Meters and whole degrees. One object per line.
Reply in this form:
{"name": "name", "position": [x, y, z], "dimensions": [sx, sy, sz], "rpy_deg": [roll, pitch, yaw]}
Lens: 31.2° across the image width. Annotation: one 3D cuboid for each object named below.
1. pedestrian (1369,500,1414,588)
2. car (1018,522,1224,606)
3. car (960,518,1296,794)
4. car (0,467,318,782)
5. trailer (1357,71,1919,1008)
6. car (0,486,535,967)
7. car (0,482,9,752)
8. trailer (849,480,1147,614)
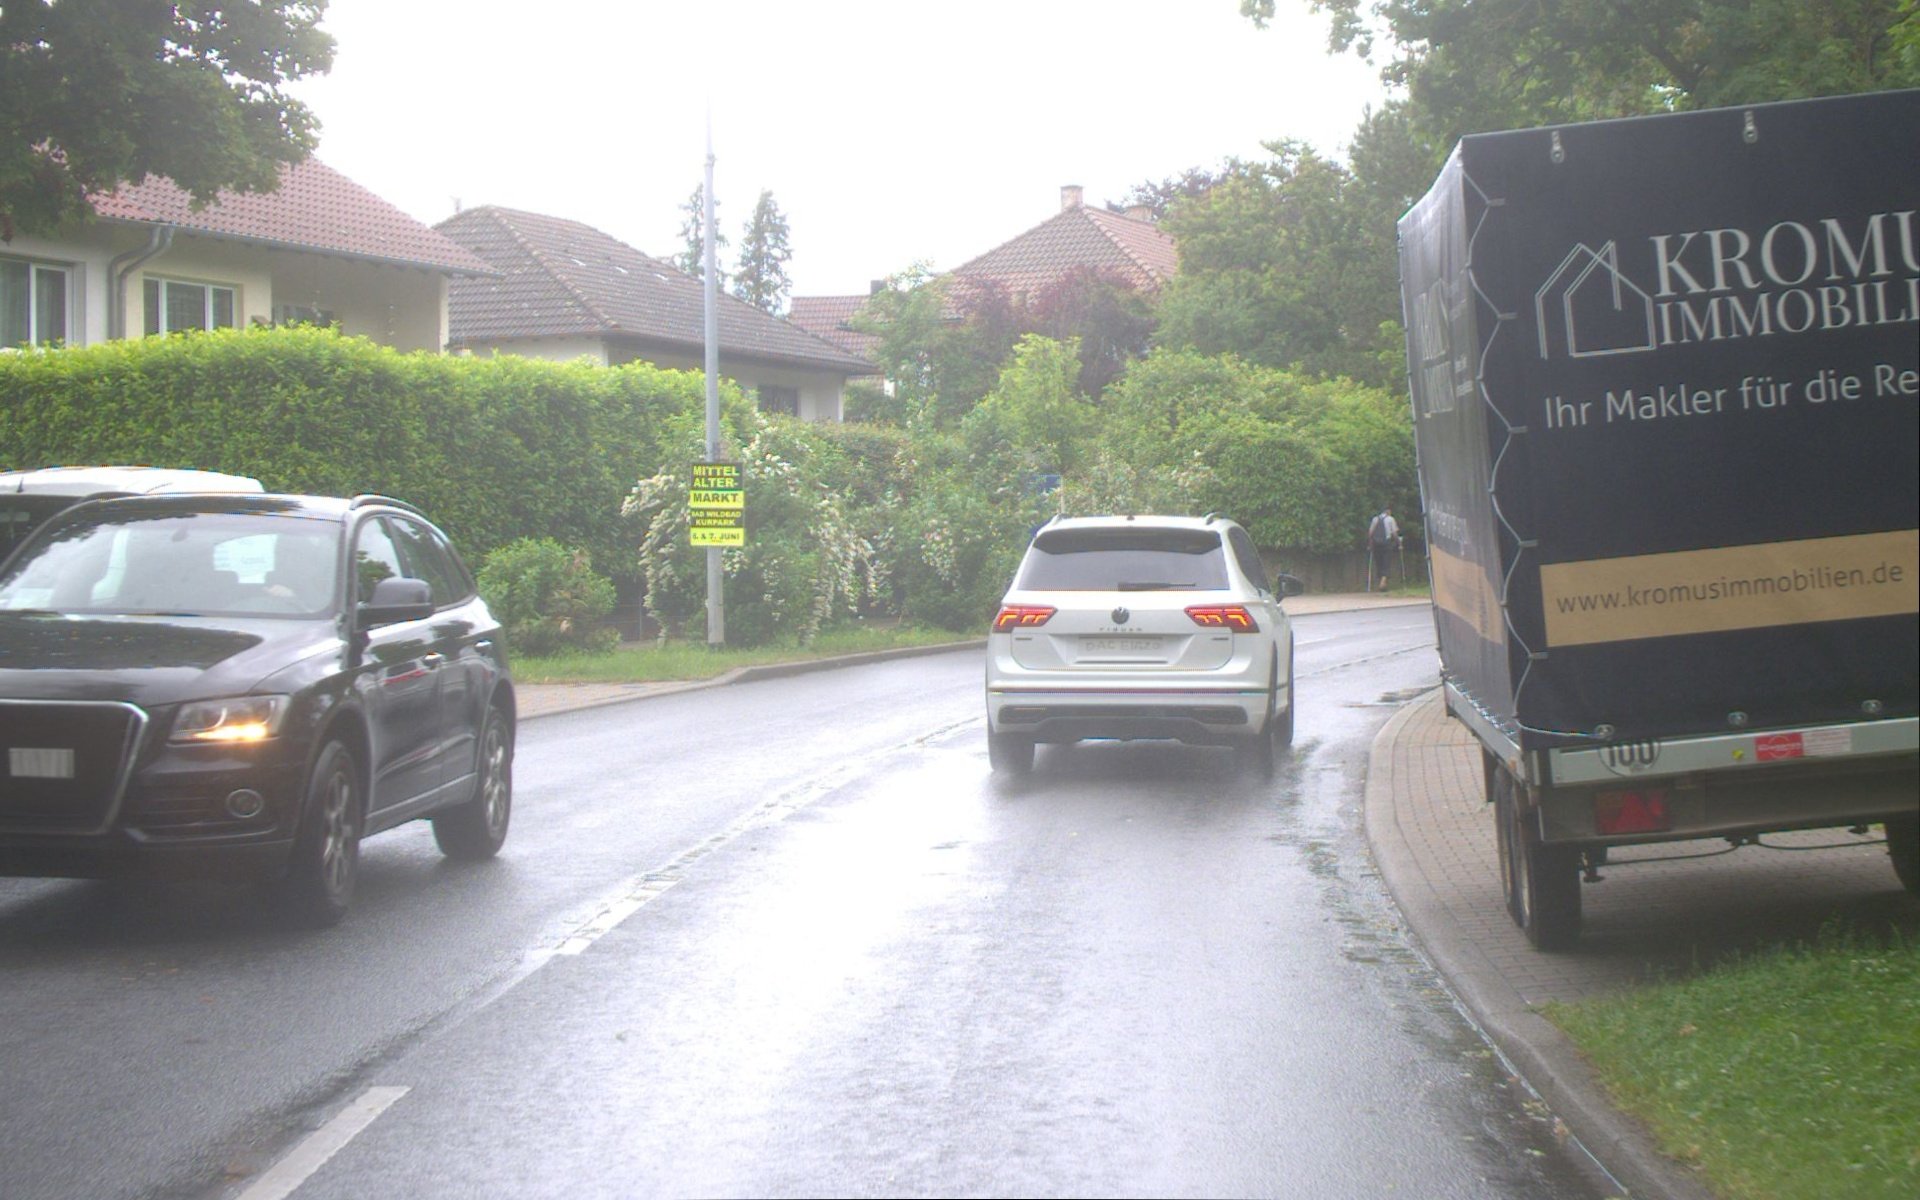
{"name": "pedestrian", "position": [8.217, -1.065, 65.449], "dimensions": [0.777, 1.656, 0.843], "rpy_deg": [1, 1, 12]}
{"name": "car", "position": [2.975, -0.682, 63.569], "dimensions": [3.407, 1.514, 1.729], "rpy_deg": [1, 1, 23]}
{"name": "car", "position": [1.218, 0.308, 22.966], "dimensions": [1.974, 1.647, 4.176], "rpy_deg": [1, 1, 6]}
{"name": "car", "position": [-5.748, 0.093, 21.882], "dimensions": [1.799, 1.789, 4.370], "rpy_deg": [1, 1, 10]}
{"name": "trailer", "position": [2.820, -0.253, 13.505], "dimensions": [1.994, 2.799, 5.607], "rpy_deg": [-5, 1, 4]}
{"name": "car", "position": [-3.153, 0.389, 14.335], "dimensions": [1.852, 1.686, 4.404], "rpy_deg": [0, 1, 5]}
{"name": "car", "position": [-6.228, 0.155, 16.657], "dimensions": [1.750, 1.635, 4.592], "rpy_deg": [2, 0, 2]}
{"name": "trailer", "position": [0.628, -0.898, 57.379], "dimensions": [4.626, 2.164, 1.813], "rpy_deg": [1, 1, 23]}
